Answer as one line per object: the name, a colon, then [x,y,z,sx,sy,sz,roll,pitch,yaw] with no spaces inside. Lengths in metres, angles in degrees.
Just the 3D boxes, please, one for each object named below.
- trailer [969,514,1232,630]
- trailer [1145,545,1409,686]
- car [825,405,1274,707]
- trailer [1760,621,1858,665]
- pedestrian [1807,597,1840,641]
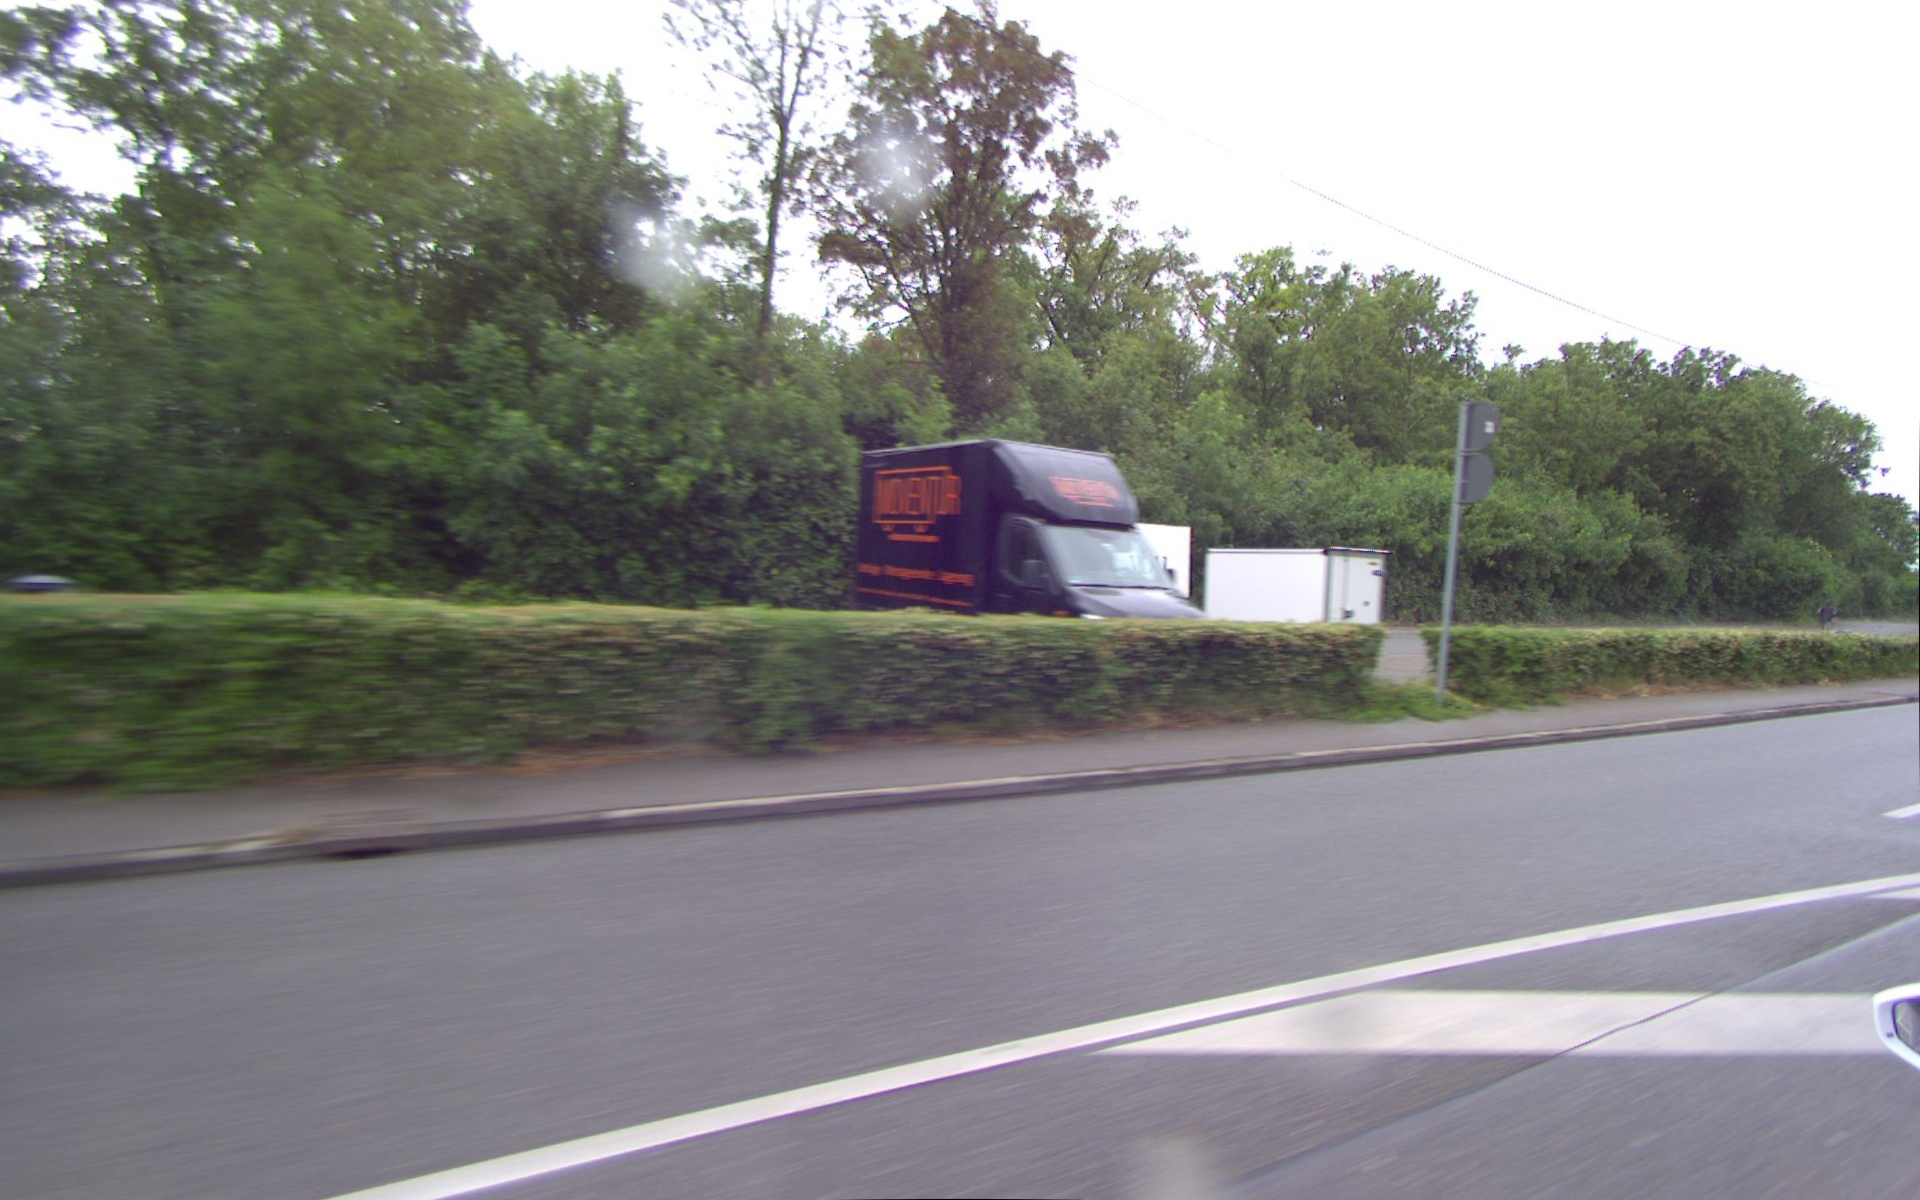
trailer: [4.193,-0.673,28.782,7.899,2.912,2.459,2,1,-36]
trailer: [5.203,0.191,16.982,1.852,2.080,3.965,1,1,-32]
car: [0.827,-0.529,13.849,2.724,3.155,6.231,2,1,-35]
trailer: [22.936,1.138,27.150,1.322,1.048,1.787,1,2,-38]
pedestrian: [37.250,0.820,43.313,1.125,1.822,0.811,1,2,-38]
